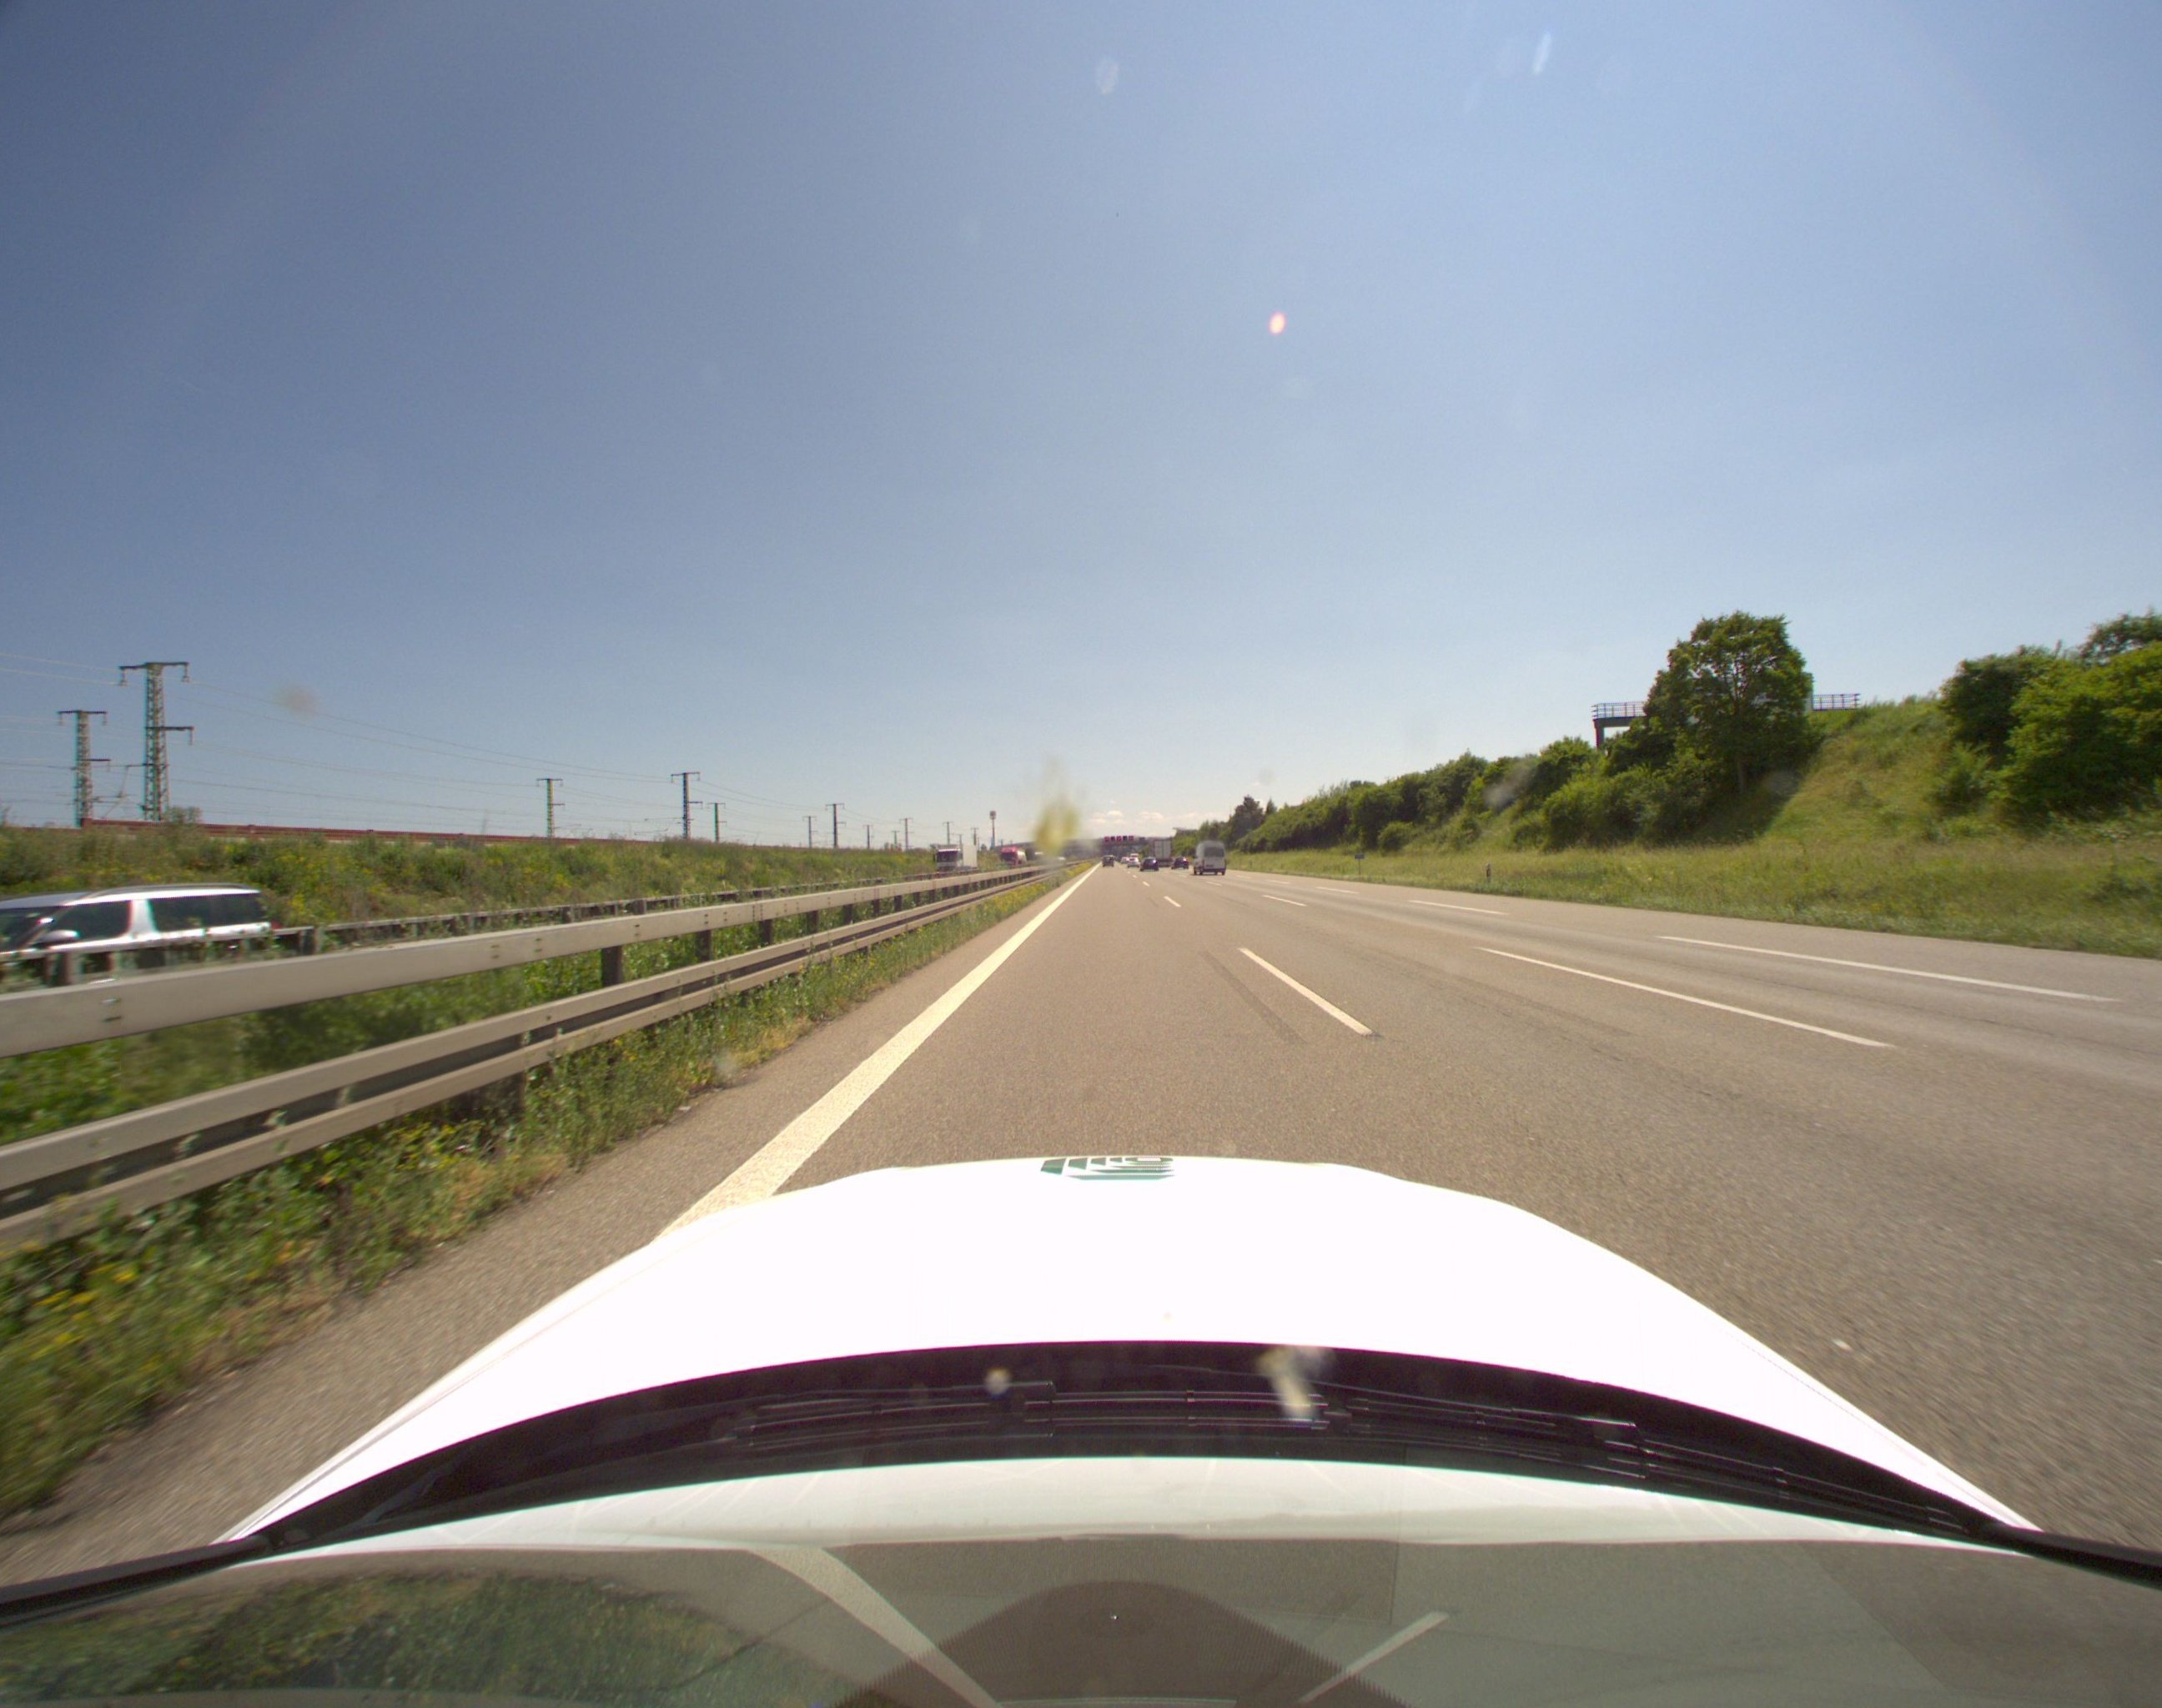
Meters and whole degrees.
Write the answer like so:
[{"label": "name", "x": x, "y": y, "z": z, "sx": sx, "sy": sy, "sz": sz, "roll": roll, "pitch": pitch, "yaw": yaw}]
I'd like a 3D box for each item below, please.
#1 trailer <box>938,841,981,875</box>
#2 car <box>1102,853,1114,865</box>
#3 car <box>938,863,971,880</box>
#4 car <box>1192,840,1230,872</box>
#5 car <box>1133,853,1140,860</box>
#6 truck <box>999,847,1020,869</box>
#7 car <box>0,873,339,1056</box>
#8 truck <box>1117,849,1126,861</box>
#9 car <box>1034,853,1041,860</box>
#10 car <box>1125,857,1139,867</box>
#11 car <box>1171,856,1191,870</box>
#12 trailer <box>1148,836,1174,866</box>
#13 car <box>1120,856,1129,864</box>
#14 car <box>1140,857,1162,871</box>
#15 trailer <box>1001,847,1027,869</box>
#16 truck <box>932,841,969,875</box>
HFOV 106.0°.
[{"label": "trailer", "x": -12.928, "y": 0.447, "z": 87.595, "sx": 2.777, "sy": 3.388, "sz": 9.587, "roll": 0, "pitch": 0, "yaw": 2}, {"label": "car", "x": 4.246, "y": 0.869, "z": 128.023, "sx": 1.873, "sy": 1.775, "sz": 4.002, "roll": -2, "pitch": -1, "yaw": 2}, {"label": "car", "x": -10.632, "y": 1.441, "z": 68.919, "sx": 1.986, "sy": 1.306, "sz": 4.204, "roll": -2, "pitch": 0, "yaw": 1}, {"label": "car", "x": 10.540, "y": 0.157, "z": 66.402, "sx": 2.266, "sy": 2.528, "sz": 5.400, "roll": -1, "pitch": 0, "yaw": 1}, {"label": "car", "x": 16.843, "y": 0.704, "z": 245.559, "sx": 1.985, "sy": 2.013, "sz": 4.441, "roll": -2, "pitch": 0, "yaw": 3}, {"label": "truck", "x": -11.753, "y": 0.688, "z": 134.022, "sx": 2.777, "sy": 3.521, "sz": 4.715, "roll": 0, "pitch": 0, "yaw": 2}, {"label": "car", "x": -11.679, "y": 1.155, "z": 9.385, "sx": 1.986, "sy": 1.735, "sz": 4.558, "roll": -1, "pitch": 0, "yaw": 1}, {"label": "truck", "x": 11.406, "y": 0.226, "z": 227.951, "sx": 2.346, "sy": 3.416, "sz": 6.060, "roll": -1, "pitch": 0, "yaw": 2}, {"label": "car", "x": -12.529, "y": 0.804, "z": 235.932, "sx": 1.988, "sy": 2.013, "sz": 3.997, "roll": -1, "pitch": 0, "yaw": -2}, {"label": "car", "x": 7.358, "y": 1.171, "z": 117.739, "sx": 1.872, "sy": 1.526, "sz": 4.005, "roll": -1, "pitch": -1, "yaw": 5}, {"label": "car", "x": 12.117, "y": 1.132, "z": 98.754, "sx": 1.986, "sy": 1.596, "sz": 4.001, "roll": 0, "pitch": -2, "yaw": 1}, {"label": "trailer", "x": 11.680, "y": -0.382, "z": 119.993, "sx": 3.165, "sy": 4.059, "sz": 9.444, "roll": -2, "pitch": 0, "yaw": 2}, {"label": "car", "x": 9.541, "y": 1.339, "z": 177.160, "sx": 1.873, "sy": 1.526, "sz": 4.003, "roll": -1, "pitch": -1, "yaw": 3}, {"label": "car", "x": 7.570, "y": 1.084, "z": 88.063, "sx": 1.987, "sy": 1.508, "sz": 3.998, "roll": 0, "pitch": -2, "yaw": -1}, {"label": "trailer", "x": -11.465, "y": 0.703, "z": 141.013, "sx": 2.777, "sy": 3.521, "sz": 13.847, "roll": 0, "pitch": 0, "yaw": 2}, {"label": "truck", "x": -13.133, "y": 0.425, "z": 82.400, "sx": 2.777, "sy": 3.388, "sz": 4.715, "roll": 0, "pitch": 0, "yaw": 2}]
